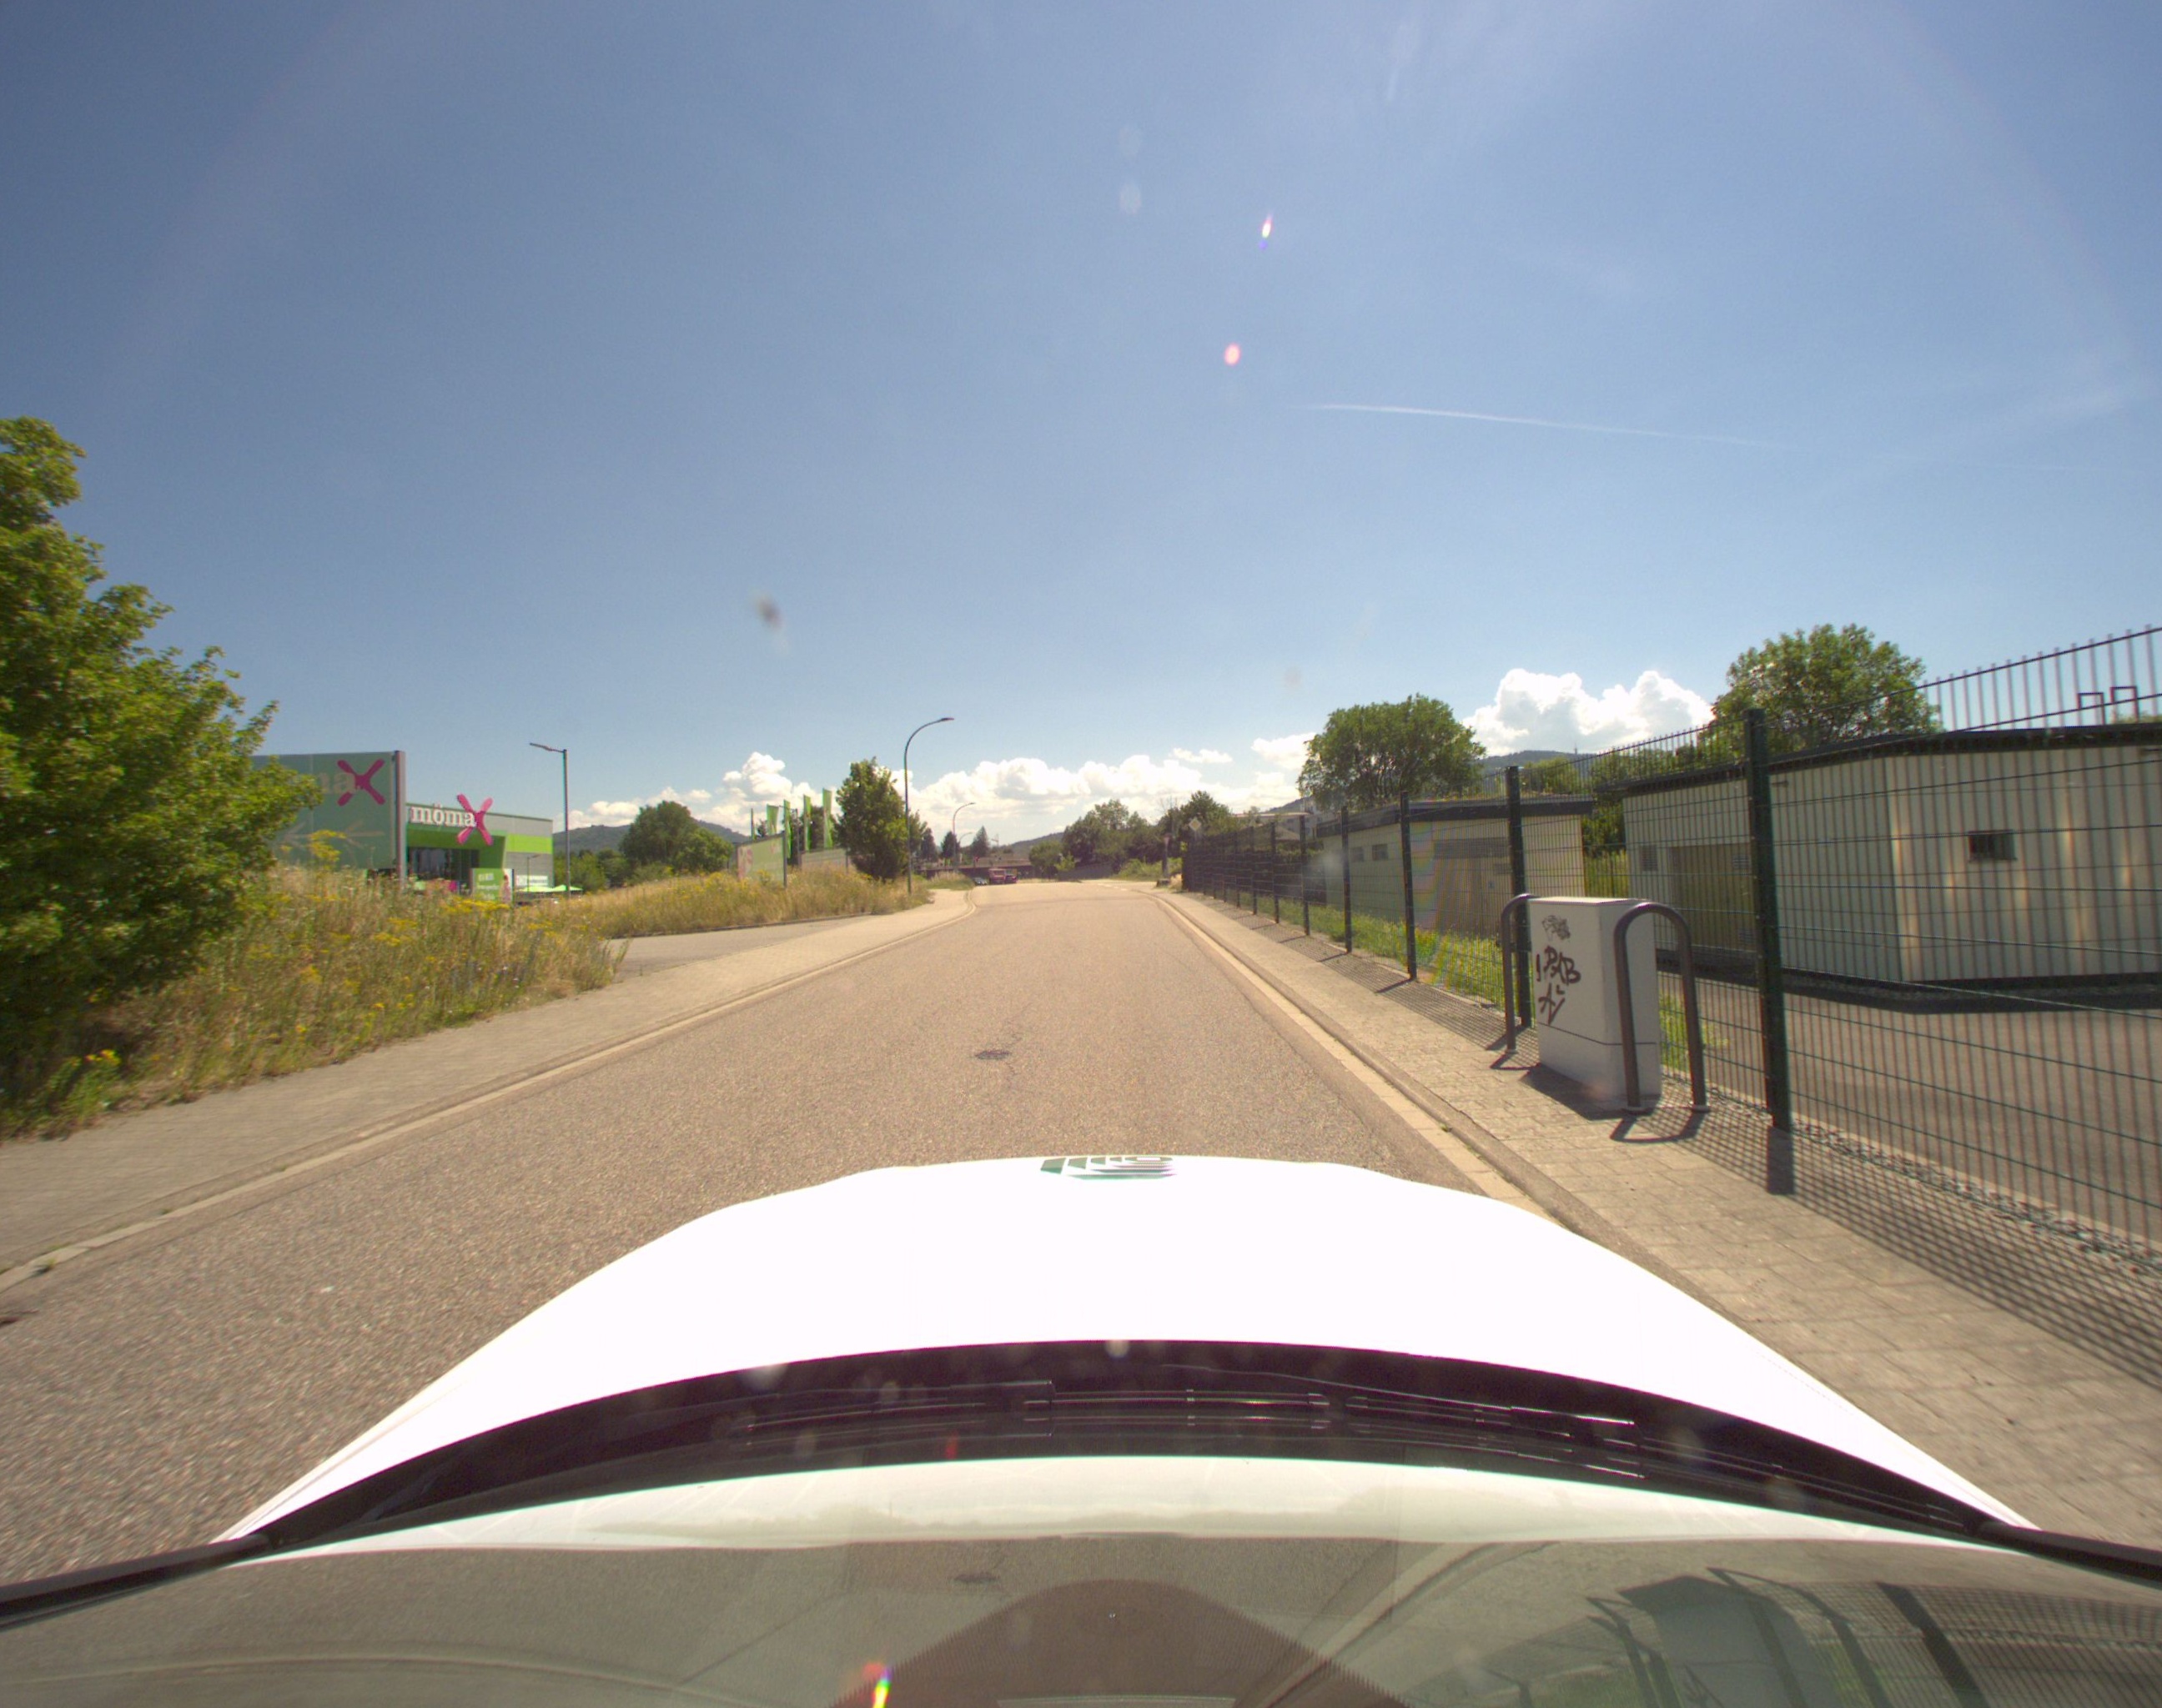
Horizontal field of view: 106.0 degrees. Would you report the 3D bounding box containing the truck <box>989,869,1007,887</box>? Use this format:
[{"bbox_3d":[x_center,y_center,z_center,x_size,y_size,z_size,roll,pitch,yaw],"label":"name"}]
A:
[{"bbox_3d":[-14.246,4.085,139.454,2.681,2.772,6.072,-1,0,-8],"label":"truck"}]

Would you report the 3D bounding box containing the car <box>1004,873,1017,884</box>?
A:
[{"bbox_3d":[-10.241,3.519,118.321,1.775,1.448,3.442,-1,0,-8],"label":"car"}]
